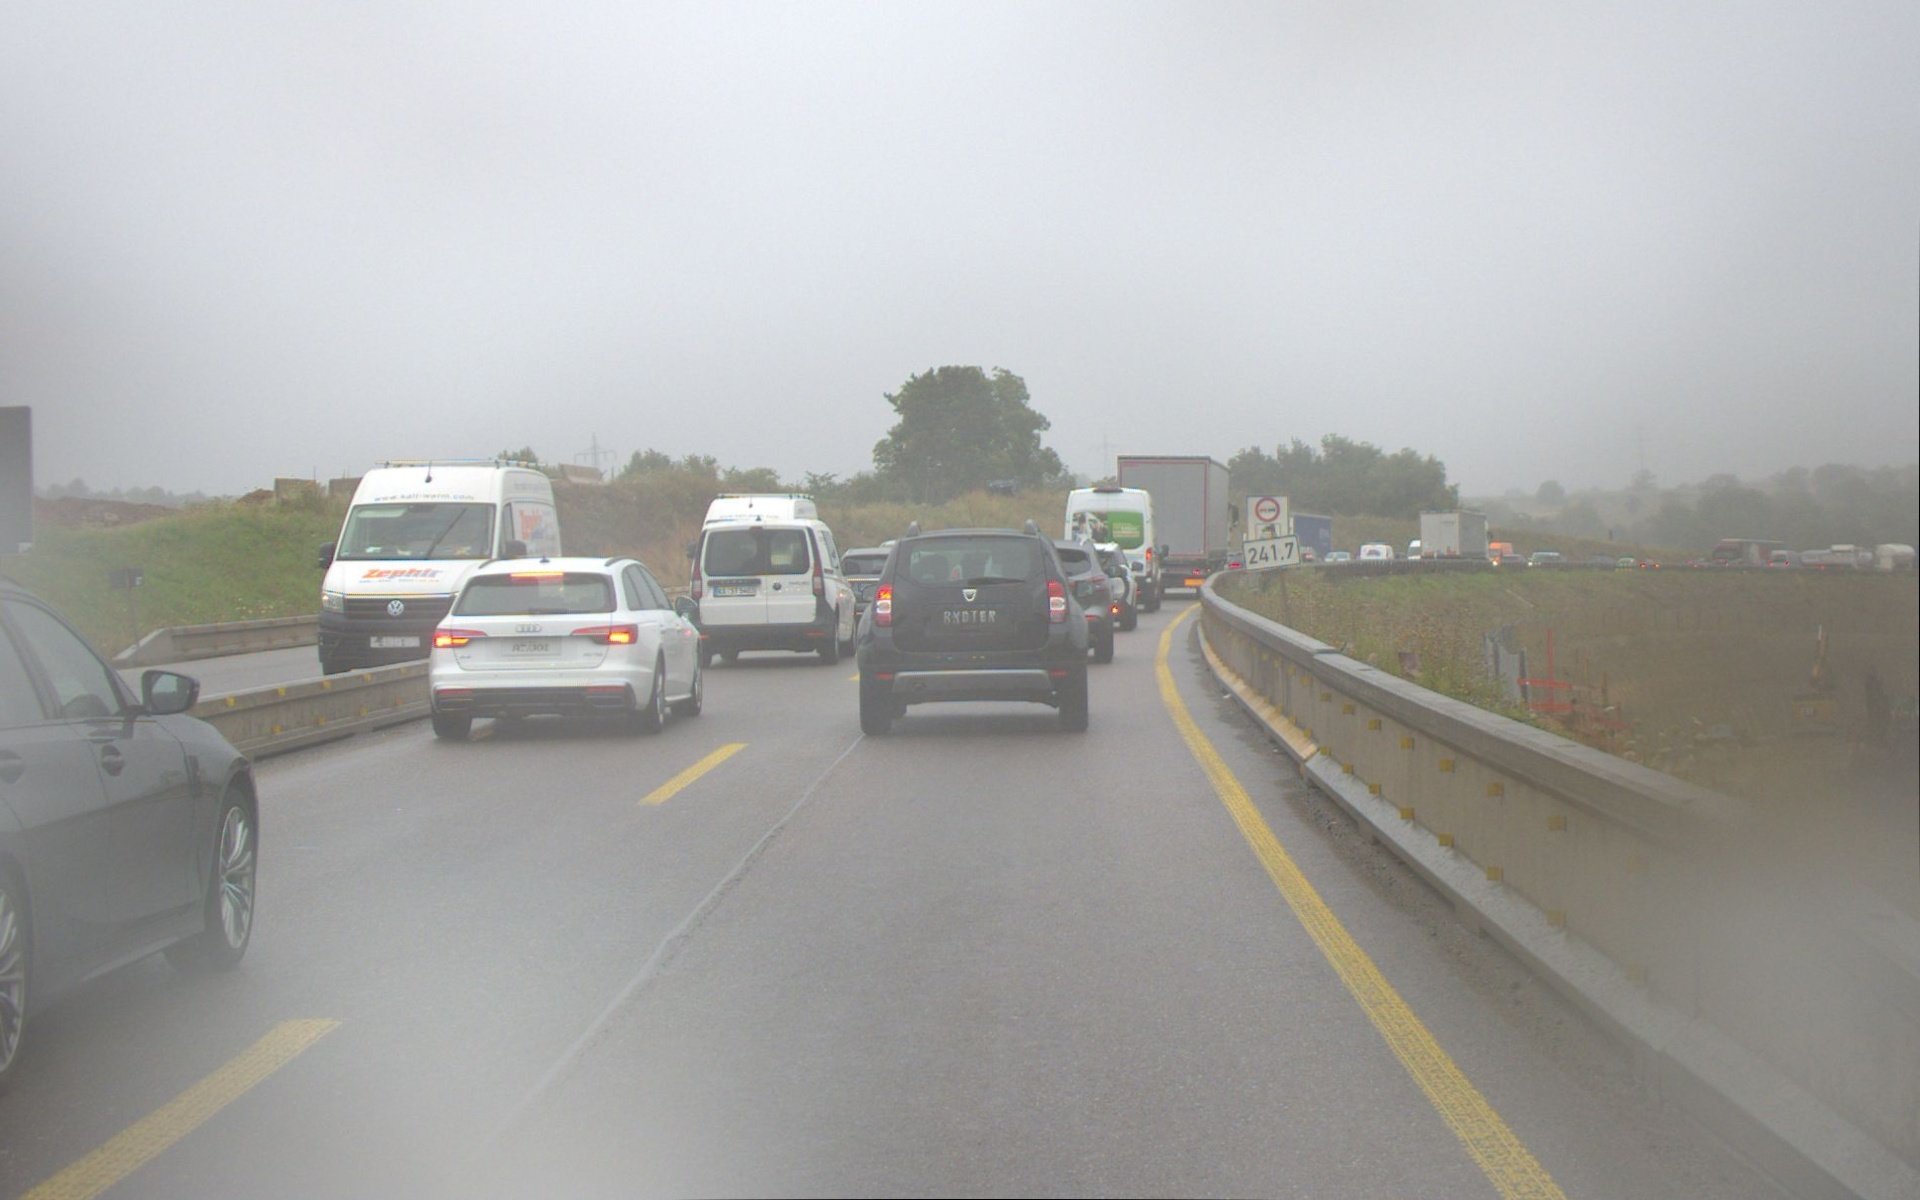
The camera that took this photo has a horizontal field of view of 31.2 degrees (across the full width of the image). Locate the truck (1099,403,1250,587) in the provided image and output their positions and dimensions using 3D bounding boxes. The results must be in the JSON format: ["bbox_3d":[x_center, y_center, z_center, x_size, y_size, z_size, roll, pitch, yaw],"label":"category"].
[{"bbox_3d":[6.345,-2.913,99.934,3.545,5.060,10.438,0,0,8],"label":"truck"}]

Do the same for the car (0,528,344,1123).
[{"bbox_3d":[-3.349,0.564,10.778,1.735,1.457,5.630,0,2,1],"label":"car"}]

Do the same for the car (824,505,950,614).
[{"bbox_3d":[-1.226,-0.681,59.459,1.826,1.809,3.999,0,0,4],"label":"car"}]

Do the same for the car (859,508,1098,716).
[{"bbox_3d":[0.217,0.082,28.459,1.826,1.585,4.000,0,0,2],"label":"car"}]

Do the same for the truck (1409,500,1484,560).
[{"bbox_3d":[31.357,-4.526,221.267,3.475,3.702,8.411,-1,1,17],"label":"truck"}]

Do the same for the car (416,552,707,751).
[{"bbox_3d":[-3.180,0.384,28.134,1.826,1.494,4.000,0,0,1],"label":"car"}]

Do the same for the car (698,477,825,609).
[{"bbox_3d":[-3.995,-1.183,70.135,2.024,2.540,5.958,-1,1,2],"label":"car"}]

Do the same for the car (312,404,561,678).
[{"bbox_3d":[-6.097,-0.709,40.722,1.993,3.003,5.780,0,1,1],"label":"car"}]

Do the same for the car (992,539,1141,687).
[{"bbox_3d":[1.411,0.149,44.223,1.826,1.809,4.000,0,0,3],"label":"car"}]

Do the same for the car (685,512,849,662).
[{"bbox_3d":[-2.404,-0.165,43.697,1.826,1.809,4.000,0,0,0],"label":"car"}]

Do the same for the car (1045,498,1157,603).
[{"bbox_3d":[2.546,-0.861,61.336,1.826,1.809,3.999,0,0,5],"label":"car"}]

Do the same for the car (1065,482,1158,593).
[{"bbox_3d":[3.443,-1.372,77.576,1.827,2.429,4.157,0,0,6],"label":"car"}]
